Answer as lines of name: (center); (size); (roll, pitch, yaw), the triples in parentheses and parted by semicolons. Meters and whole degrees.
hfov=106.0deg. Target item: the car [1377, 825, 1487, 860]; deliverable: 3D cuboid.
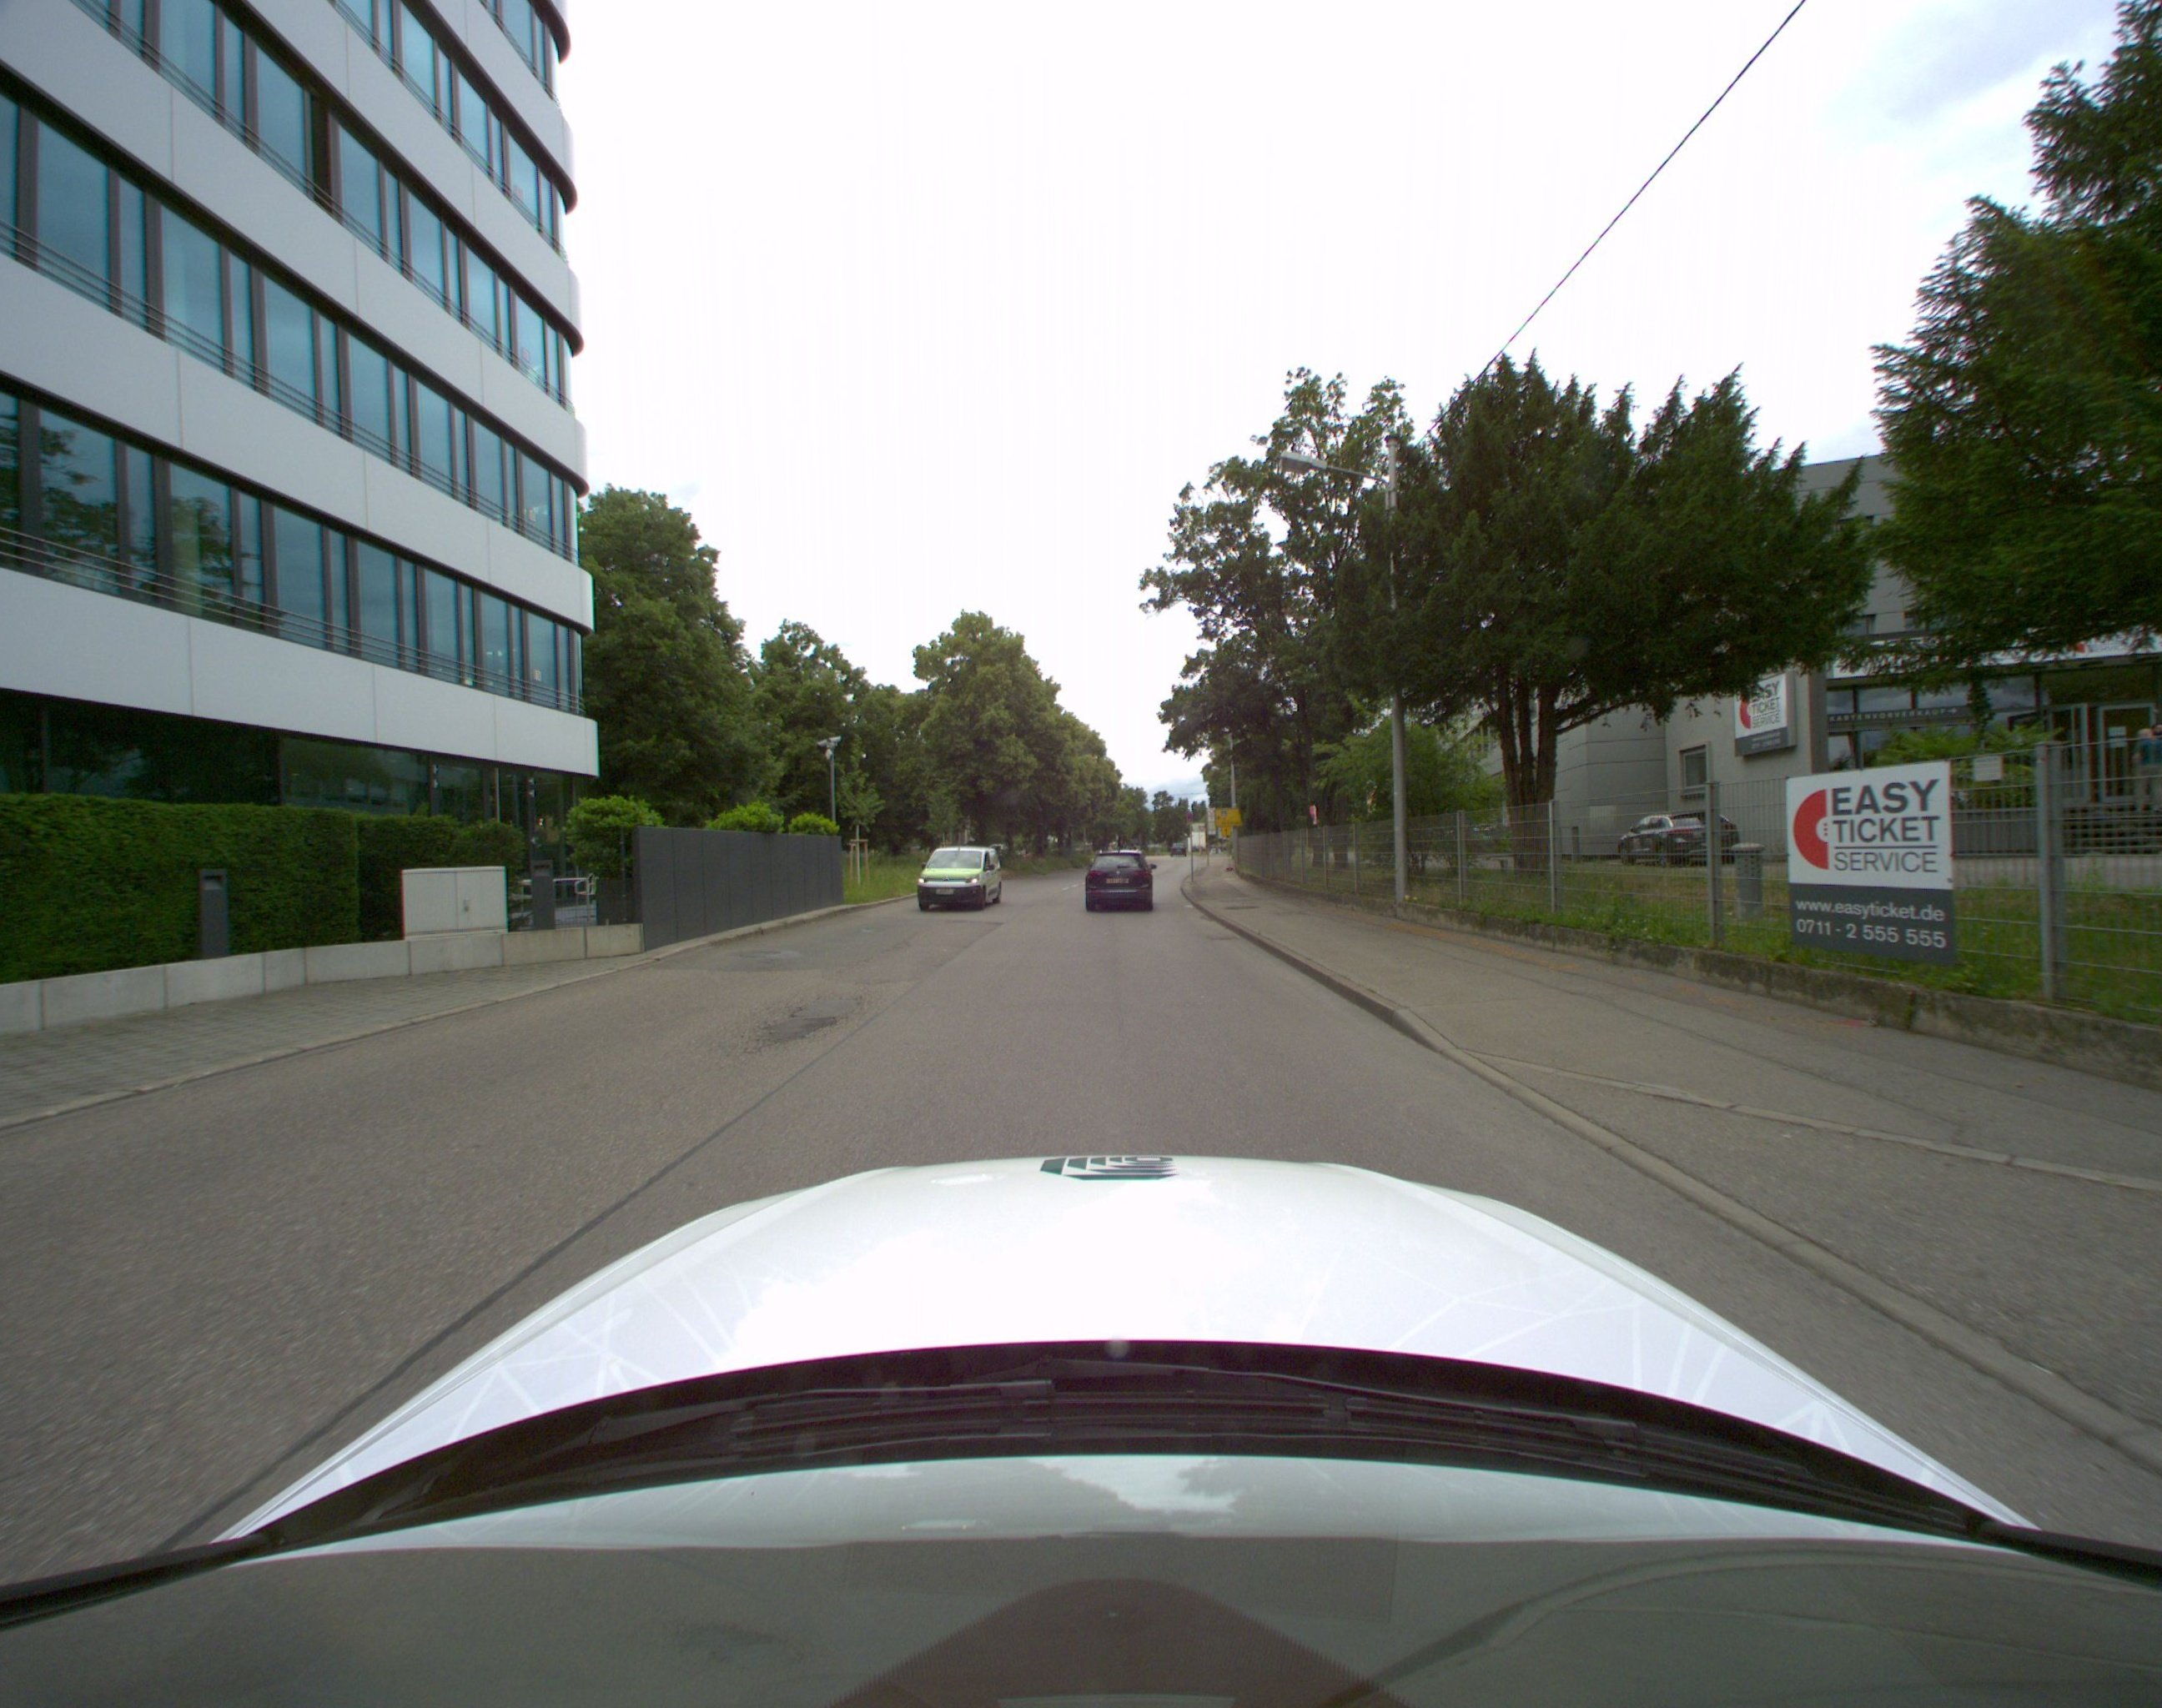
car: (17.643, -0.543, 41.141); (2.010, 1.474, 4.638); (-3, -1, -40)

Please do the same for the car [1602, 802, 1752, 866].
car: (17.493, -0.608, 24.208); (1.979, 1.566, 4.459); (-5, 0, 14)

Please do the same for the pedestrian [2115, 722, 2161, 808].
pedestrian: (24.545, -2.035, 18.715); (0.736, 1.885, 0.699); (-3, 0, 35)

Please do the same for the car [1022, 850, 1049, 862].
car: (-6.130, 0.267, 109.669); (3.381, 1.478, 1.641); (-2, 1, 1)

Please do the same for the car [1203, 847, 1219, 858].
car: (22.480, -0.263, 140.839); (1.977, 1.786, 4.020); (-1, 0, 19)

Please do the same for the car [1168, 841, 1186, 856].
car: (10.893, -0.581, 92.325); (1.652, 1.574, 3.831); (-3, 0, 2)

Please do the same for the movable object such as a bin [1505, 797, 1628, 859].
movable object such as a bin: (20.207, -1.057, 34.060); (3.959, 2.305, 1.960); (-3, 0, 13)

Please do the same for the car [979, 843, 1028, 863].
car: (-10.100, -0.118, 106.671); (6.044, 2.387, 2.397); (-2, 1, 3)

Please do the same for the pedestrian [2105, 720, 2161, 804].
pedestrian: (23.192, -1.993, 17.743); (0.909, 1.752, 0.802); (-3, 0, 41)

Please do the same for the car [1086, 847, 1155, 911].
car: (1.105, 0.660, 22.813); (1.732, 1.618, 3.644); (-1, 0, 3)

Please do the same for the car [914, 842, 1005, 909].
car: (-3.410, 0.567, 23.712); (1.800, 1.764, 4.209); (-1, 0, 3)
